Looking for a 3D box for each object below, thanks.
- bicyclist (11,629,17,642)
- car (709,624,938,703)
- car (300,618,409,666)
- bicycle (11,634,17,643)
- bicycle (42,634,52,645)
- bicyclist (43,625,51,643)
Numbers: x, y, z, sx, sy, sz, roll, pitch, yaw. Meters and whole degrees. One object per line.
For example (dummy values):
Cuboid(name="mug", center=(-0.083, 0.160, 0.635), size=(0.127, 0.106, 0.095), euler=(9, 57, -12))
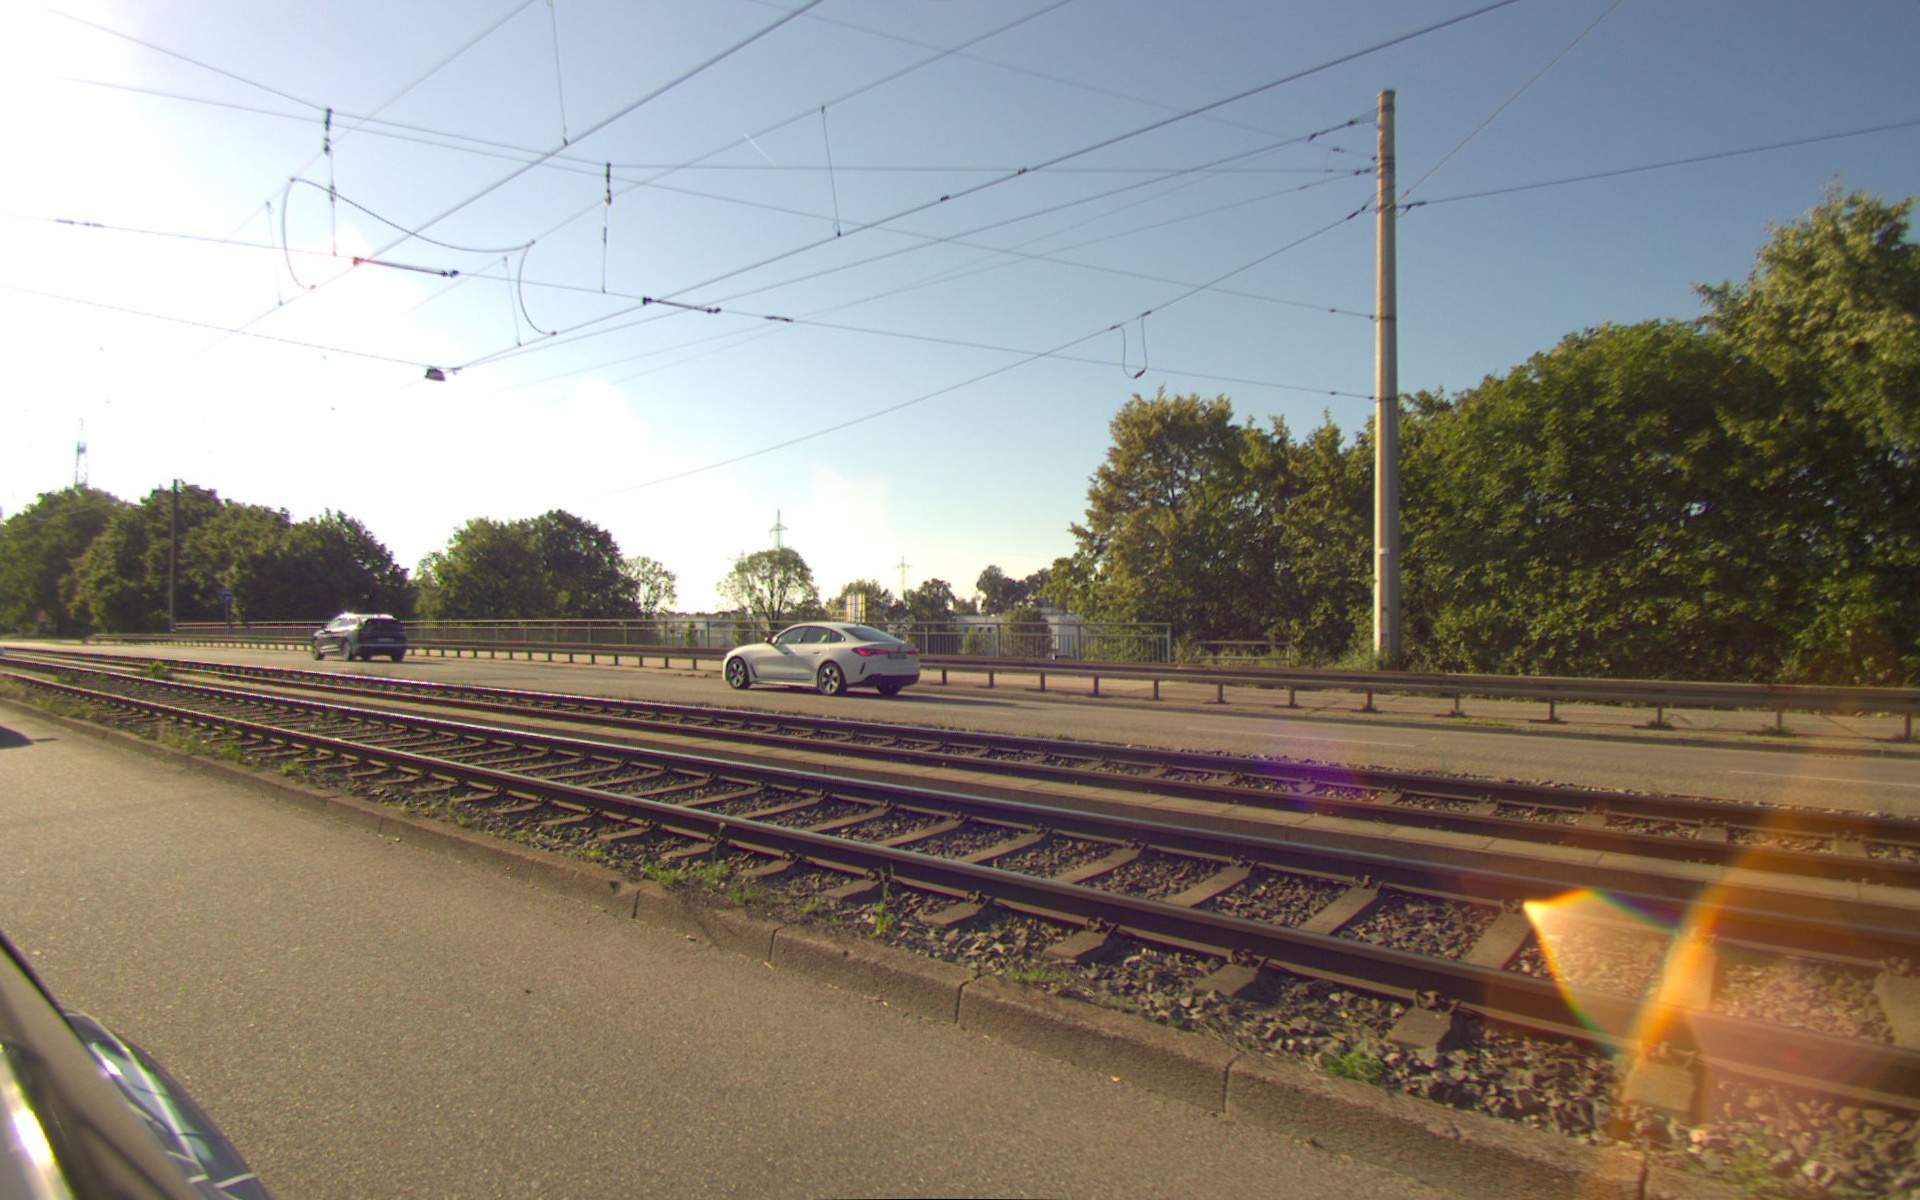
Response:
Cuboid(name="bicyclist", center=(-104.875, 3.915, 112.193), size=(0.417, 1.439, 0.755), euler=(0, -1, -44))
Cuboid(name="car", center=(-2.895, 1.254, 20.768), size=(4.871, 1.425, 1.738), euler=(-1, -4, 38))
Cuboid(name="car", center=(-21.385, 1.446, 35.667), size=(4.795, 1.592, 1.692), euler=(-1, -2, 39))
Cuboid(name="bicycle", center=(-104.819, 4.258, 112.145), size=(0.420, 0.971, 1.914), euler=(0, -1, -44))
Cuboid(name="bicycle", center=(-90.857, 3.972, 100.673), size=(1.726, 1.060, 0.499), euler=(-1, -1, 40))
Cuboid(name="bicyclist", center=(-90.863, 3.390, 100.685), size=(0.832, 1.764, 0.492), euler=(-1, -1, 39))
